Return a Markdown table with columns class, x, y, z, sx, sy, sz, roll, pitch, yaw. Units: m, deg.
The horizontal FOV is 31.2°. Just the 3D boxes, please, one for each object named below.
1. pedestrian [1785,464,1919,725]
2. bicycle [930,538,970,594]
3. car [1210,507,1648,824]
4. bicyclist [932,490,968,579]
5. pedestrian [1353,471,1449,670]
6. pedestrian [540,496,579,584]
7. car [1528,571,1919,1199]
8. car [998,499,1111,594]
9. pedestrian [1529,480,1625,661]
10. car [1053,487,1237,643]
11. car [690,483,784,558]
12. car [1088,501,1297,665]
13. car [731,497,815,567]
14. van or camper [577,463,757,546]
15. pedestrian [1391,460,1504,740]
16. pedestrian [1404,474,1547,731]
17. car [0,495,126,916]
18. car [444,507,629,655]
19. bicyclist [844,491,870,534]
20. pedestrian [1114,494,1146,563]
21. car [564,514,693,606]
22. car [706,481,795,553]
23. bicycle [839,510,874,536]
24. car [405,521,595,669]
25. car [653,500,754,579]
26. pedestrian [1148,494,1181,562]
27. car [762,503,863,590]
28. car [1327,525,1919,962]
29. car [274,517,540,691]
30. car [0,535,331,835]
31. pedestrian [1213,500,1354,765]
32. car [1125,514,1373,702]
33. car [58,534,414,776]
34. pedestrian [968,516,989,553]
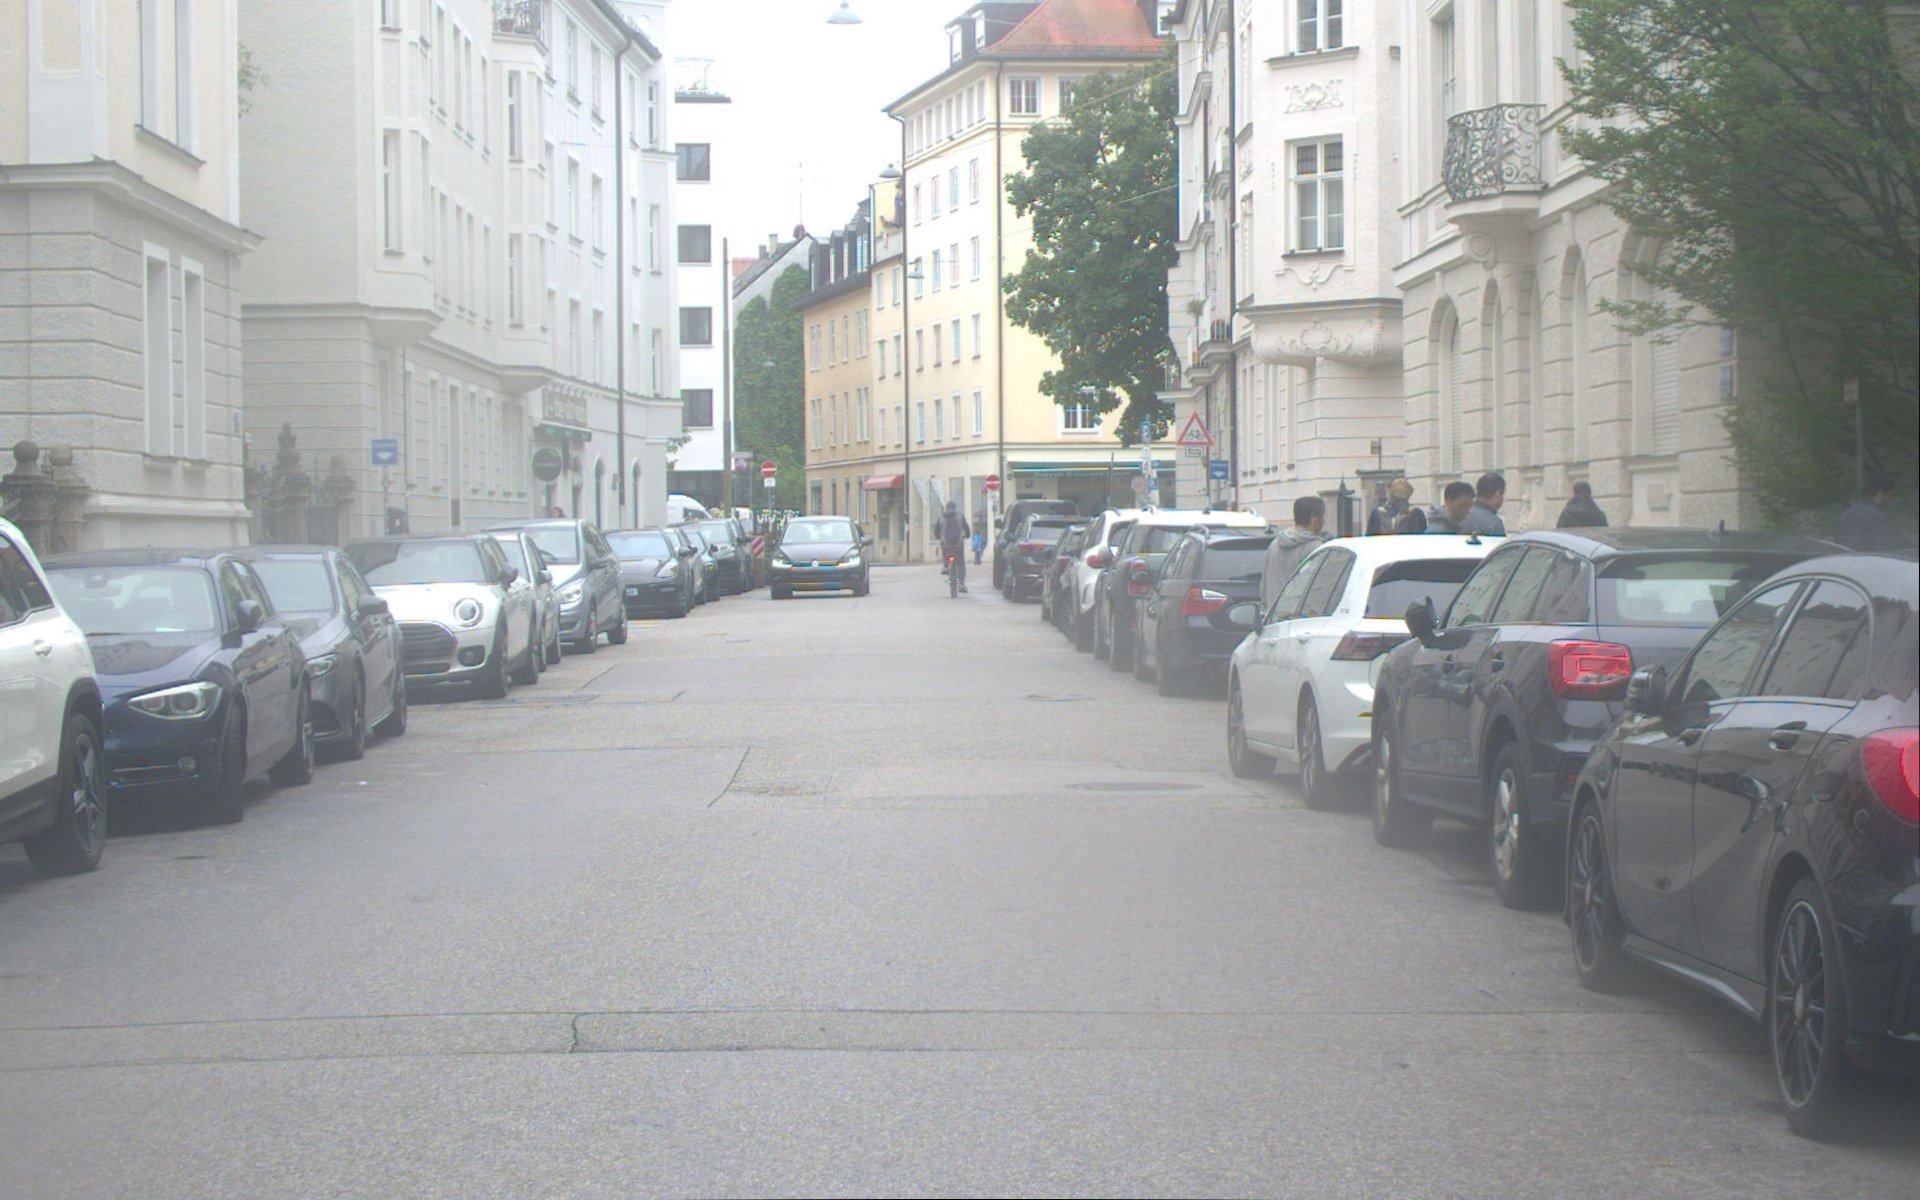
| class | x | y | z | sx | sy | sz | roll | pitch | yaw |
| --- | --- | --- | --- | --- | --- | --- | --- | --- | --- |
| pedestrian | 6.342 | -0.053 | 24.262 | 0.859 | 1.811 | 0.679 | 0 | 2 | -2 |
| bicycle | -0.177 | -0.627 | 63.260 | 0.639 | 1.001 | 1.574 | -1 | 2 | 3 |
| car | 2.480 | 0.271 | 19.118 | 1.662 | 1.502 | 4.065 | 0 | 2 | -3 |
| bicyclist | -0.184 | -1.210 | 63.285 | 0.606 | 1.601 | 0.757 | -1 | 2 | 3 |
| pedestrian | 4.059 | -0.283 | 31.680 | 0.682 | 1.769 | 0.855 | -3 | 2 | 0 |
| pedestrian | -7.812 | -1.168 | 67.008 | 0.697 | 1.701 | 0.665 | 0 | 2 | -3 |
| car | 2.808 | 0.655 | 9.552 | 1.742 | 1.393 | 4.022 | 1 | 1 | 0 |
| car | 1.646 | -0.980 | 61.029 | 1.707 | 1.582 | 4.001 | 1 | 2 | -3 |
| pedestrian | 5.890 | -0.292 | 32.826 | 0.682 | 1.673 | 0.812 | -3 | 2 | -2 |
| car | 2.096 | -0.454 | 39.978 | 1.895 | 1.630 | 4.392 | -1 | 3 | 0 |
| car | -4.578 | -1.651 | 71.057 | 1.741 | 1.481 | 4.181 | -1 | 2 | -1 |
| car | 2.261 | -0.220 | 34.283 | 1.748 | 1.519 | 4.171 | 0 | 2 | -1 |
| car | -4.950 | -1.818 | 91.436 | 1.878 | 1.777 | 4.000 | -1 | 2 | 2 |
| van or camper | -9.908 | -3.221 | 116.046 | 5.903 | 2.668 | 1.873 | -1 | 0 | -8 |
| pedestrian | 3.123 | -0.014 | 22.042 | 0.627 | 1.763 | 0.672 | 0 | 2 | 0 |
| pedestrian | 3.595 | 0.006 | 24.026 | 0.882 | 1.763 | 0.673 | 0 | 2 | -2 |
| car | -4.696 | 0.447 | 13.510 | 1.806 | 1.642 | 4.486 | -2 | 2 | -2 |
| car | -5.072 | -0.273 | 41.587 | 1.696 | 1.575 | 4.062 | -3 | 2 | -1 |
| bicyclist | -3.912 | -3.343 | 130.670 | 0.781 | 1.632 | 0.976 | -1 | 2 | -15 |
| pedestrian | 4.284 | -1.803 | 86.577 | 0.703 | 1.722 | 0.703 | -2 | 2 | -3 |
| car | -5.284 | -0.673 | 55.205 | 1.849 | 1.362 | 4.703 | -1 | 2 | -3 |
| car | -5.233 | -2.101 | 86.268 | 1.843 | 1.751 | 4.000 | -1 | 2 | 2 |
| bicycle | -3.942 | -2.934 | 130.812 | 0.846 | 0.998 | 2.170 | -1 | 2 | -15 |
| car | -4.852 | -0.097 | 36.705 | 1.644 | 1.398 | 4.001 | -3 | 2 | -3 |
| car | -4.911 | -1.176 | 65.772 | 1.810 | 1.380 | 4.445 | -2 | 2 | -4 |
| pedestrian | 5.165 | -1.823 | 86.945 | 0.679 | 1.668 | 0.654 | -3 | 2 | -3 |
| car | -2.804 | -1.044 | 65.896 | 1.724 | 1.528 | 4.086 | -3 | 2 | -1 |
| car | 2.854 | 0.497 | 14.748 | 1.791 | 1.493 | 4.083 | 2 | 2 | -4 |
| car | -4.869 | -0.018 | 30.767 | 1.797 | 1.430 | 4.080 | -1 | 1 | -1 |
| car | -4.554 | 0.375 | 18.635 | 1.768 | 1.415 | 4.001 | 0 | 2 | -3 |
| pedestrian | 2.063 | 0.192 | 21.863 | 0.851 | 1.652 | 0.866 | 0 | 1 | 8 |
| car | 2.429 | 0.009 | 29.807 | 1.711 | 1.447 | 4.225 | 0 | 2 | -1 |
| car | -4.816 | 0.302 | 23.394 | 1.734 | 1.360 | 4.194 | -3 | 2 | -4 |
| pedestrian | 0.664 | -2.345 | 122.911 | 0.699 | 1.266 | 0.651 | -1 | 2 | 4 |
